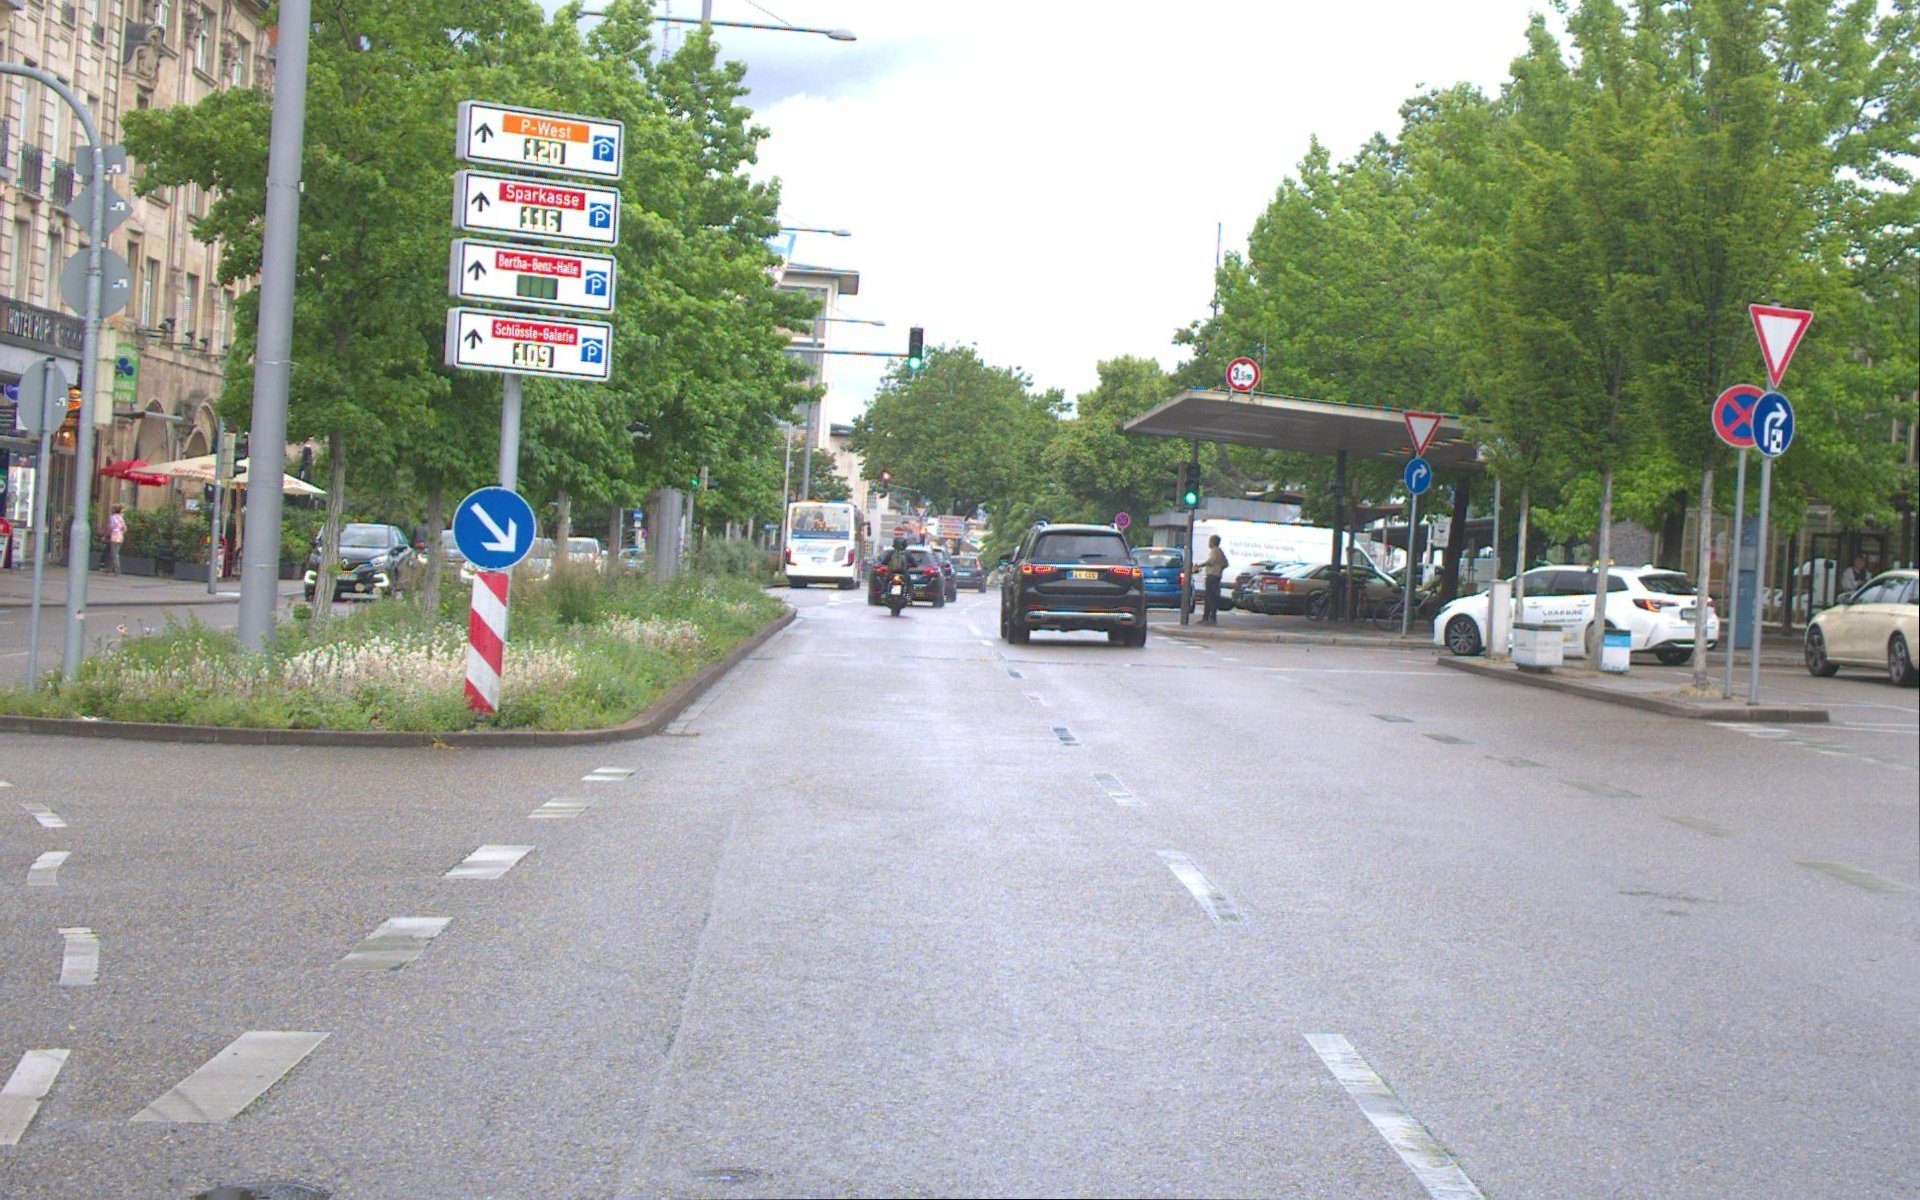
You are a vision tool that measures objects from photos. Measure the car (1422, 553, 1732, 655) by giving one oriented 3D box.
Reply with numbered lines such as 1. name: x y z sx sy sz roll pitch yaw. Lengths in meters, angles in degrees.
1. car: 9.114 0.038 51.083 1.774 1.380 4.366 0 1 -41

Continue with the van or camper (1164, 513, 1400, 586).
1. van or camper: 9.661 -1.500 102.869 6.753 2.007 2.385 1 0 -26

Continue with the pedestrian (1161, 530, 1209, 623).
1. pedestrian: 4.352 -0.457 66.569 0.717 1.785 0.666 1 1 -12

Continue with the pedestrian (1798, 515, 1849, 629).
1. pedestrian: 18.492 -0.608 73.647 0.843 2.403 0.862 1 1 1

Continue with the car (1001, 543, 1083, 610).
1. car: 1.988 -0.603 84.674 1.851 1.562 4.000 1 1 -1

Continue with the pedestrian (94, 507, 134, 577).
1. pedestrian: -18.354 -1.255 74.587 0.661 1.505 0.519 1 1 -38

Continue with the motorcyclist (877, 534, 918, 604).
1. motorcyclist: -1.214 -0.610 67.037 0.764 1.327 0.866 2 1 0

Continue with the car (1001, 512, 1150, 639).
1. car: 1.689 -0.398 51.851 1.993 1.800 4.690 1 1 -1

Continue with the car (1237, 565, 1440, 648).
1. car: 9.056 0.151 82.287 4.335 1.851 2.001 1 1 -20

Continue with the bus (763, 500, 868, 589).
1. bus: -5.728 -2.164 133.278 3.760 3.198 15.528 1 1 -3

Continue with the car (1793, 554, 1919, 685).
1. car: 12.607 0.231 44.307 1.993 1.594 4.824 1 1 -7

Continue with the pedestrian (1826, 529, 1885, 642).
1. pedestrian: 16.153 -0.259 62.025 0.769 2.007 0.828 1 1 -2

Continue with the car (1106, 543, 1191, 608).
1. car: 4.653 -0.626 85.406 1.816 1.525 4.000 1 1 -1

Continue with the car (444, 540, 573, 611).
1. car: -9.101 -0.521 69.617 1.724 1.377 4.859 1 1 3

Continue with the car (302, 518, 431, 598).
1. car: -11.882 -0.851 69.030 1.771 1.525 4.078 1 1 2

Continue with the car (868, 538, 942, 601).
1. car: -1.315 -0.740 82.603 1.708 1.443 4.000 1 1 -1

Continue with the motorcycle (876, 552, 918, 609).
1. motorcycle: -1.216 -0.388 67.026 0.766 1.073 2.175 2 1 0

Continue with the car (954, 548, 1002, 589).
1. car: 0.657 -1.213 130.281 1.708 1.469 4.000 1 1 -1

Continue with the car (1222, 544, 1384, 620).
1. car: 9.641 -0.500 96.656 3.986 2.007 2.001 1 1 -20
